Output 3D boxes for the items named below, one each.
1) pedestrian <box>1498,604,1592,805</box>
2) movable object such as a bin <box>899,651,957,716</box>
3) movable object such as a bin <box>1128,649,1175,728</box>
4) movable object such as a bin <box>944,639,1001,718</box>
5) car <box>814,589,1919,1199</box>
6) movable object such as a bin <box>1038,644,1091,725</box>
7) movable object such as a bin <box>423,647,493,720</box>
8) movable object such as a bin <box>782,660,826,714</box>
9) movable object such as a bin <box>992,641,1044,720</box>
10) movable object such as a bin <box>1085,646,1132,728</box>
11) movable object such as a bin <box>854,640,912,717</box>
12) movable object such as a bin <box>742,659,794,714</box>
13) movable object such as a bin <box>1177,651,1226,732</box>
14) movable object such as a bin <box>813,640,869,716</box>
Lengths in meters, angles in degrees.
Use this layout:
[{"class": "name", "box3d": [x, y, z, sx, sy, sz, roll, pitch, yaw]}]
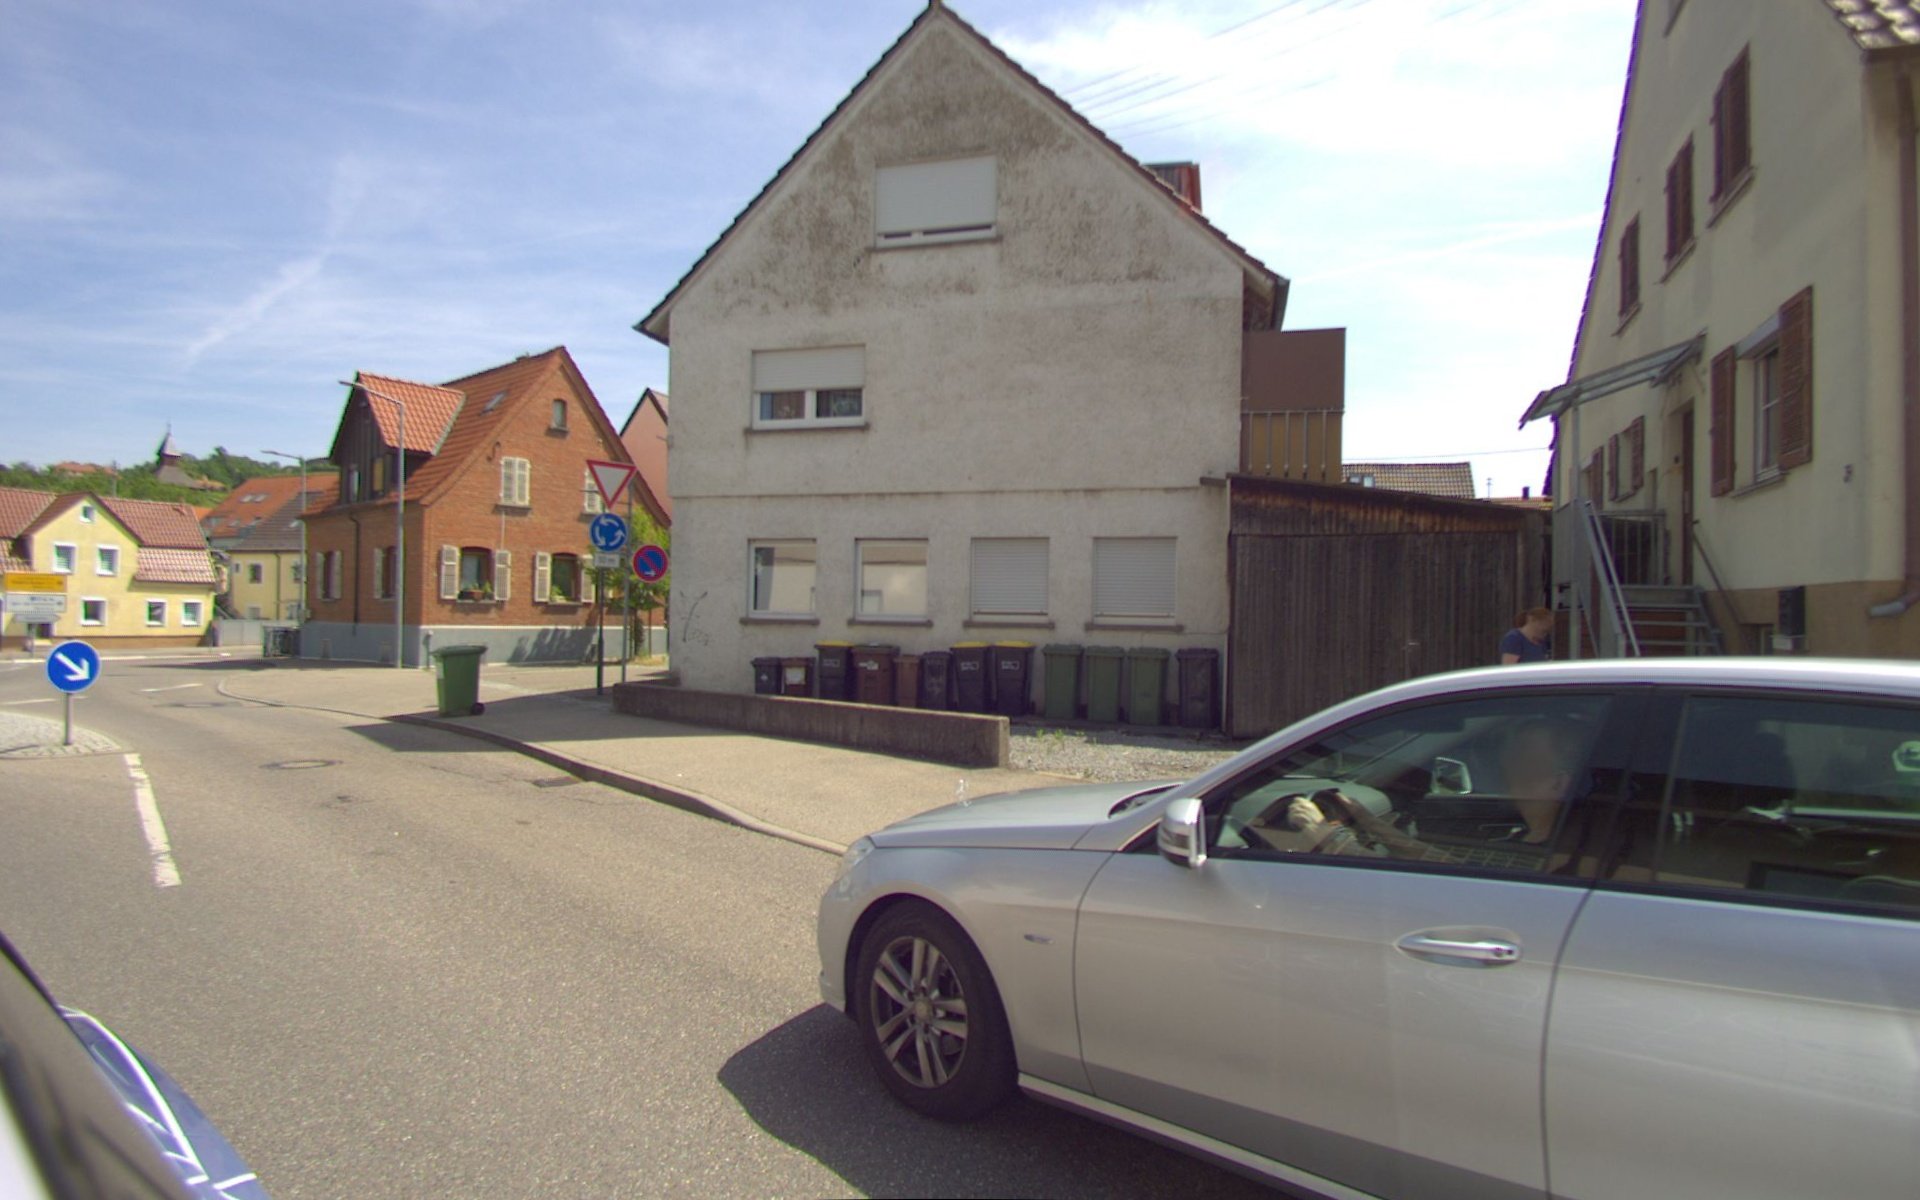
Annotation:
[{"class": "pedestrian", "box3d": [4.932, 0.838, 8.535, 0.625, 1.586, 0.771, -1, -1, 31]}, {"class": "movable object such as a bin", "box3d": [-0.464, 1.224, 14.970, 0.691, 0.903, 0.682, -1, -1, 14]}, {"class": "movable object such as a bin", "box3d": [2.656, 1.216, 14.035, 0.598, 1.043, 0.626, -1, -1, 14]}, {"class": "movable object such as a bin", "box3d": [0.186, 1.130, 14.711, 0.691, 1.090, 0.682, -1, -1, 14]}, {"class": "car", "box3d": [1.823, 0.786, 2.444, 4.459, 1.497, 1.934, -2, -4, 43]}, {"class": "movable object such as a bin", "box3d": [1.490, 1.182, 14.404, 0.654, 1.090, 0.738, -1, -1, 14]}, {"class": "movable object such as a bin", "box3d": [-7.737, 1.263, 15.589, 0.798, 1.053, 0.828, 0, -2, -40]}, {"class": "movable object such as a bin", "box3d": [-2.405, 1.330, 15.588, 0.522, 0.786, 0.484, -1, -1, 14]}, {"class": "movable object such as a bin", "box3d": [0.837, 1.145, 14.544, 0.619, 1.090, 0.682, -1, -1, 14]}, {"class": "movable object such as a bin", "box3d": [2.089, 1.201, 14.197, 0.578, 1.090, 0.677, -1, -1, 14]}, {"class": "movable object such as a bin", "box3d": [-1.149, 1.157, 15.143, 0.691, 1.094, 0.682, -1, -1, 14]}, {"class": "movable object such as a bin", "box3d": [-2.988, 1.333, 15.758, 0.641, 0.811, 0.484, -1, -1, 16]}, {"class": "movable object such as a bin", "box3d": [3.260, 1.219, 13.676, 0.607, 1.042, 0.628, -1, -1, 14]}, {"class": "movable object such as a bin", "box3d": [-1.799, 1.166, 15.313, 0.639, 1.094, 0.682, -1, -1, 14]}]
